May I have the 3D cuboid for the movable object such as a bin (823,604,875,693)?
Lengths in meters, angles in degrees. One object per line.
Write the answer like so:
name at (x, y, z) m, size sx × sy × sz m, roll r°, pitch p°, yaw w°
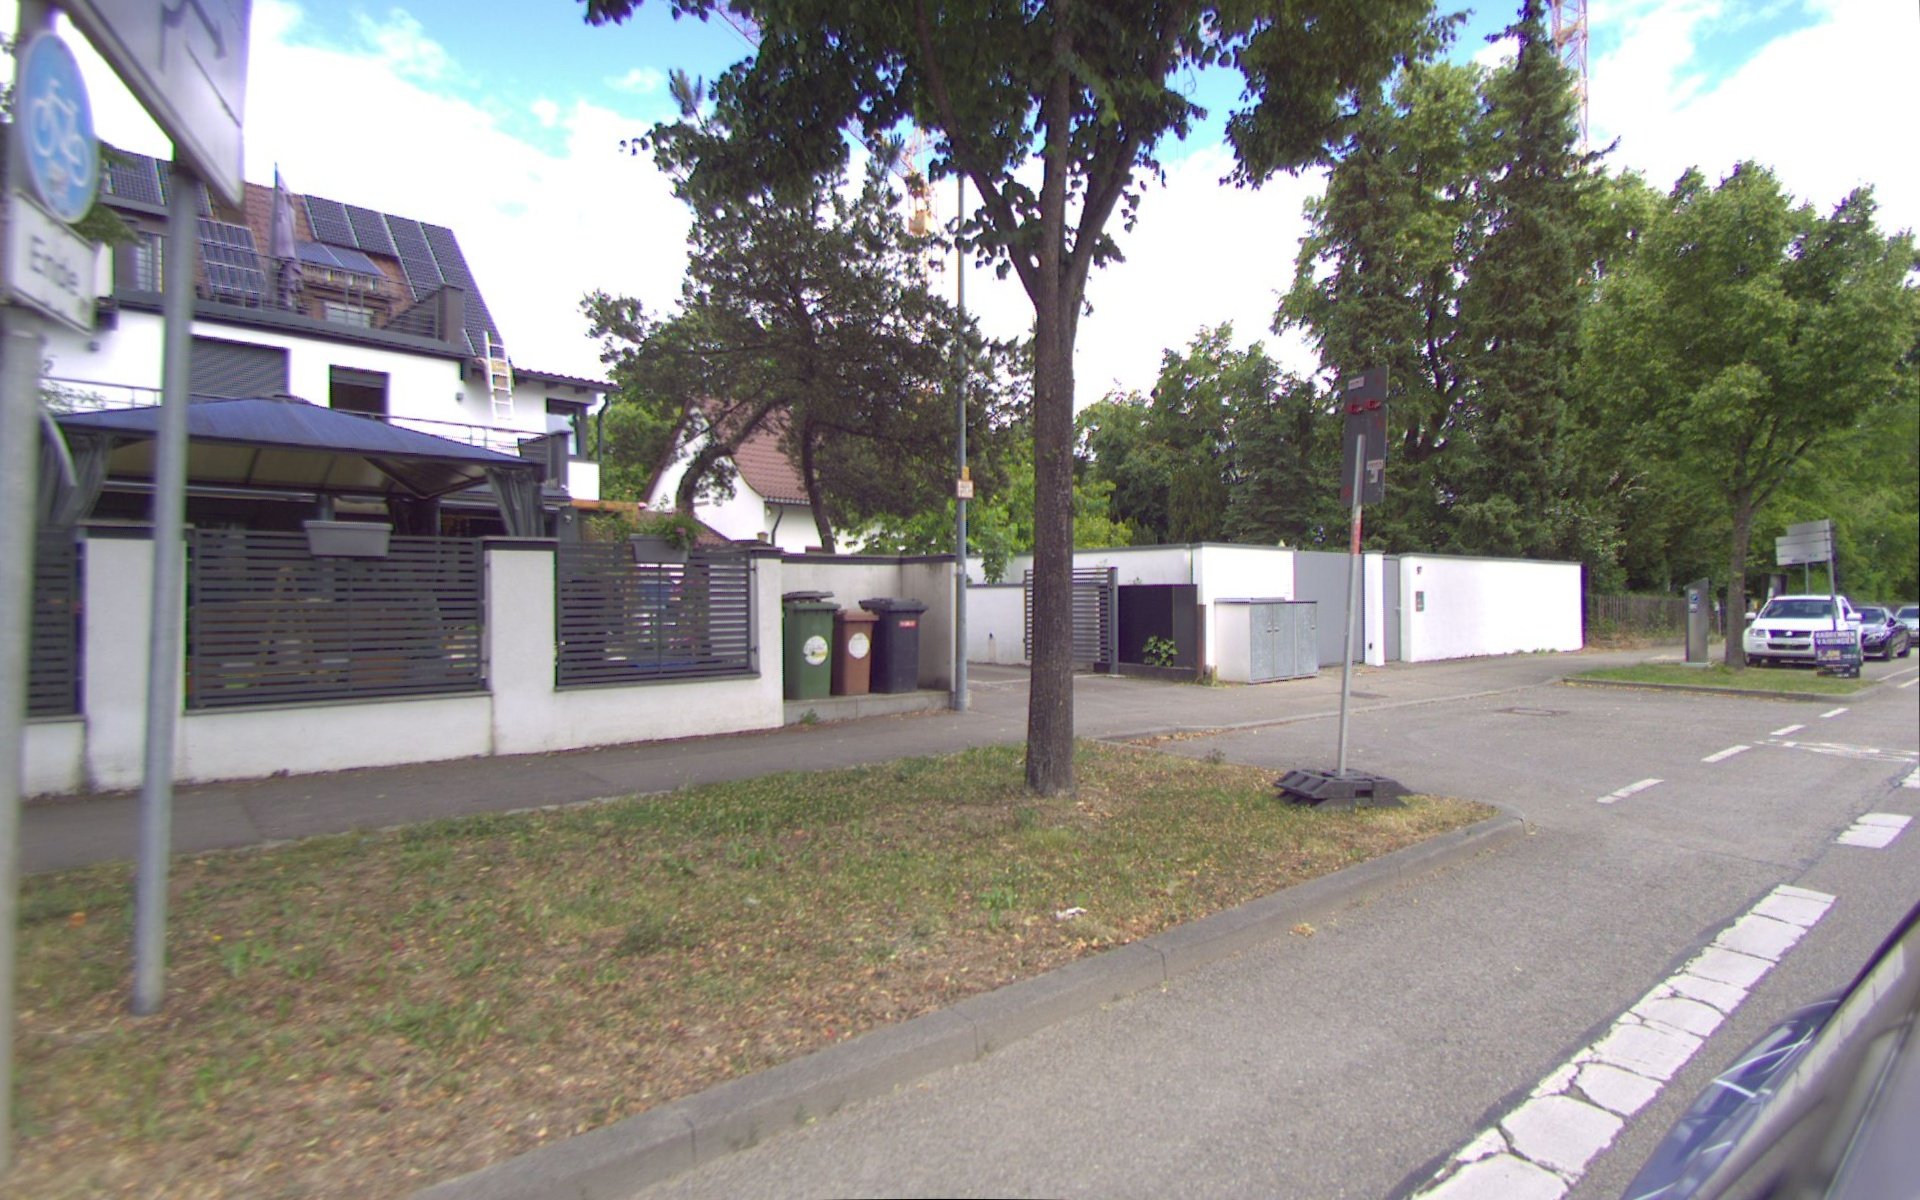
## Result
movable object such as a bin at (-1.210, 0.515, 10.991) m, size 0.388 × 0.932 × 0.437 m, roll 0°, pitch 0°, yaw -40°

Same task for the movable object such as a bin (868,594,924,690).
movable object such as a bin at (-0.712, 0.452, 11.273) m, size 0.446 × 1.035 × 0.437 m, roll 0°, pitch 0°, yaw -40°

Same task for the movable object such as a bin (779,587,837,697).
movable object such as a bin at (-1.599, 0.425, 10.643) m, size 0.446 × 1.123 × 0.437 m, roll 0°, pitch 0°, yaw -40°

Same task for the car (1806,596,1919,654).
car at (24.464, 0.623, 27.160) m, size 4.519 × 1.435 × 1.868 m, roll 0°, pitch 0°, yaw -39°

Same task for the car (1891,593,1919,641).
car at (34.601, 0.557, 35.806) m, size 4.604 × 1.631 × 1.864 m, roll -1°, pitch -1°, yaw -40°

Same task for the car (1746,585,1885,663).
car at (19.968, 0.482, 23.569) m, size 4.045 × 1.663 × 1.903 m, roll -1°, pitch 1°, yaw -41°

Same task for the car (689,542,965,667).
car at (-2.510, 0.050, 18.025) m, size 5.180 × 1.927 × 2.018 m, roll 0°, pitch 1°, yaw 42°
